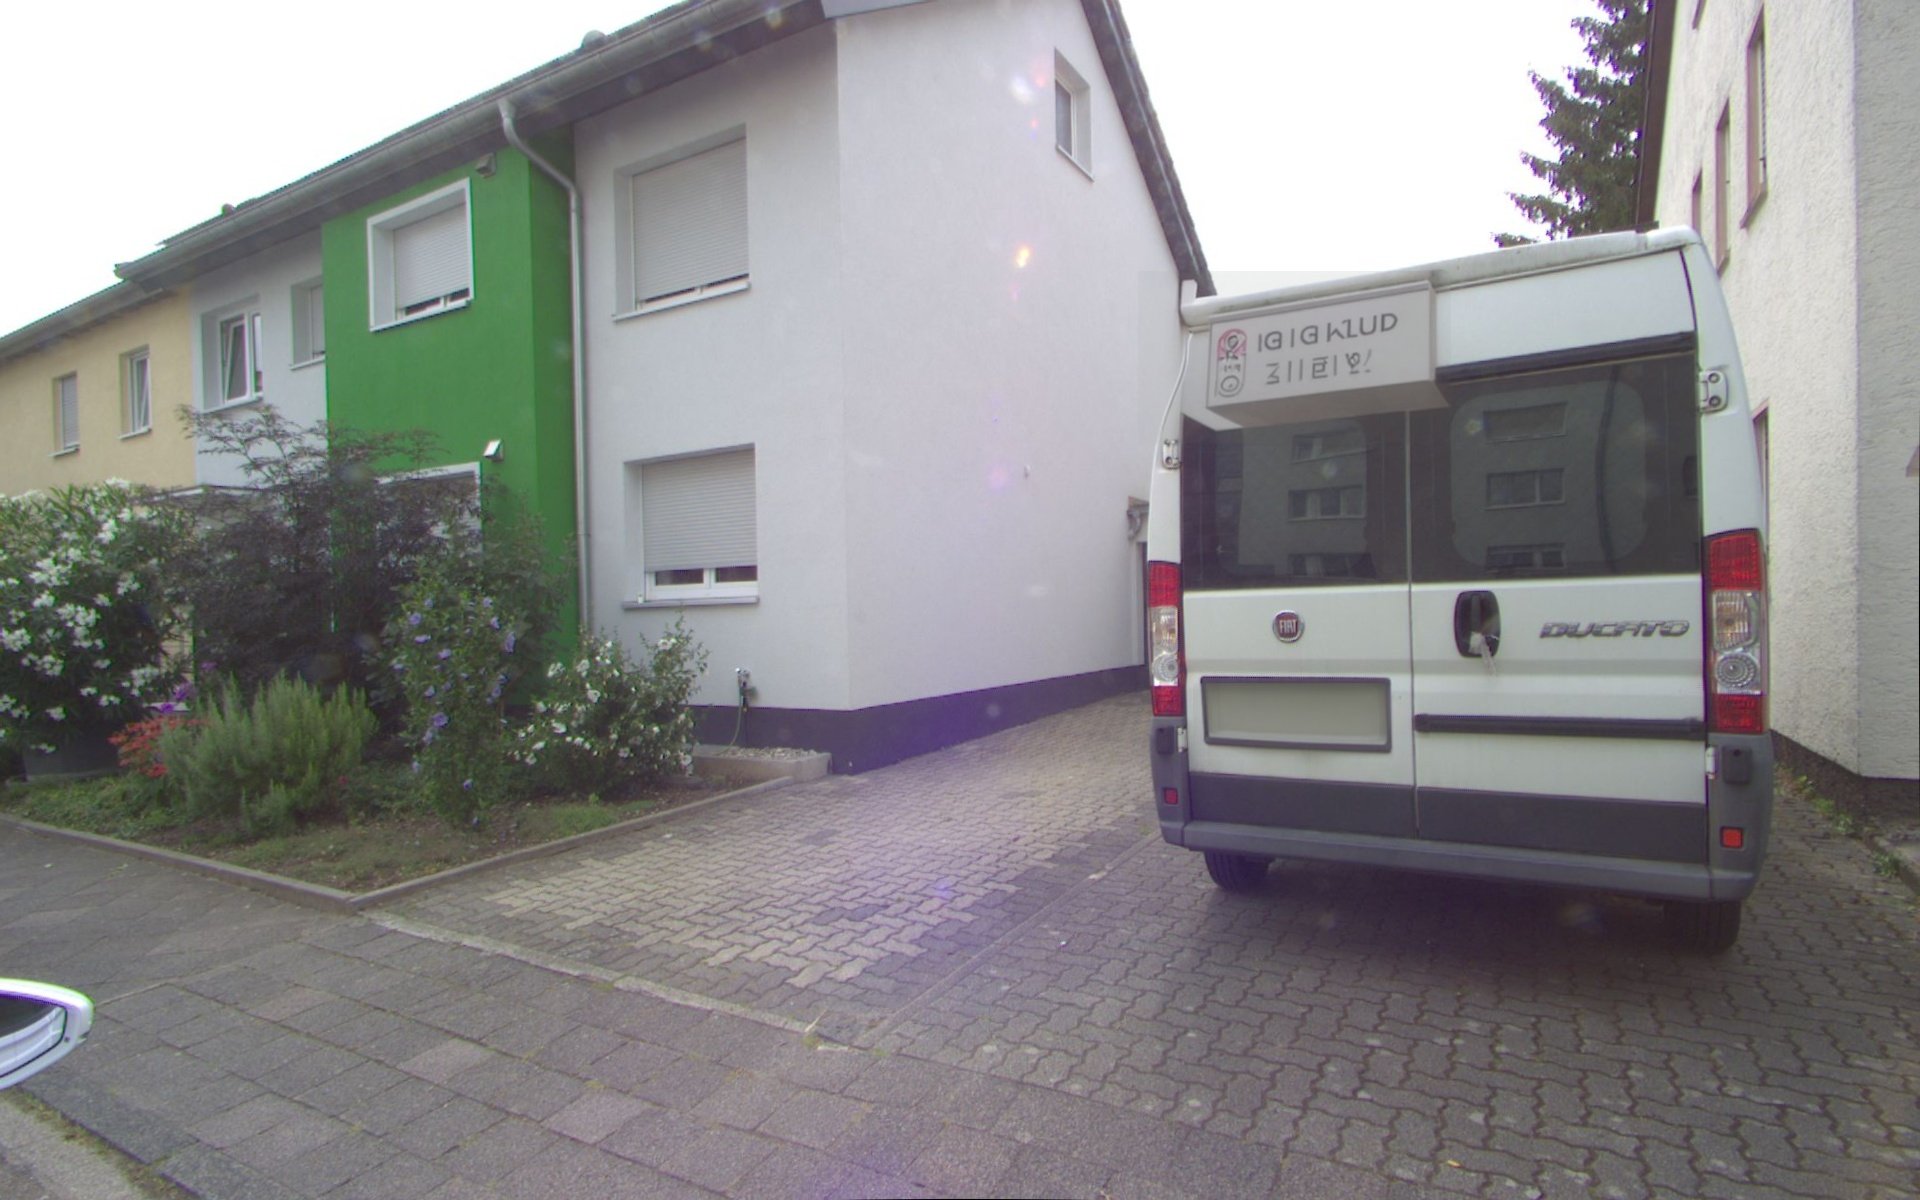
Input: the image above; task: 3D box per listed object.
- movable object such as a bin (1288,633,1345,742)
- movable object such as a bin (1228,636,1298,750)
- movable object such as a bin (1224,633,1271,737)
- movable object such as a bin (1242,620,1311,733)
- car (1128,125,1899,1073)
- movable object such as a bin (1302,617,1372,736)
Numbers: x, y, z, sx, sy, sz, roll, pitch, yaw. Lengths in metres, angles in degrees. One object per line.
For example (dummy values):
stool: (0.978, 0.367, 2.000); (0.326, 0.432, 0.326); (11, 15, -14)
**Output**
movable object such as a bin: (3.260, 0.787, 9.144); (0.396, 0.938, 0.448); (-1, 2, 30)
movable object such as a bin: (2.690, 0.804, 8.873); (0.475, 0.938, 0.518); (-1, 2, 30)
movable object such as a bin: (2.724, 0.795, 9.473); (0.333, 0.938, 0.354); (-1, 2, 30)
movable object such as a bin: (3.098, 0.736, 9.799); (0.538, 1.046, 0.454); (-1, 2, 30)
car: (2.910, -0.024, 5.483); (2.205, 2.576, 5.077); (-1, 1, 31)
movable object such as a bin: (3.585, 0.711, 9.517); (0.538, 1.071, 0.454); (-1, 2, 30)
